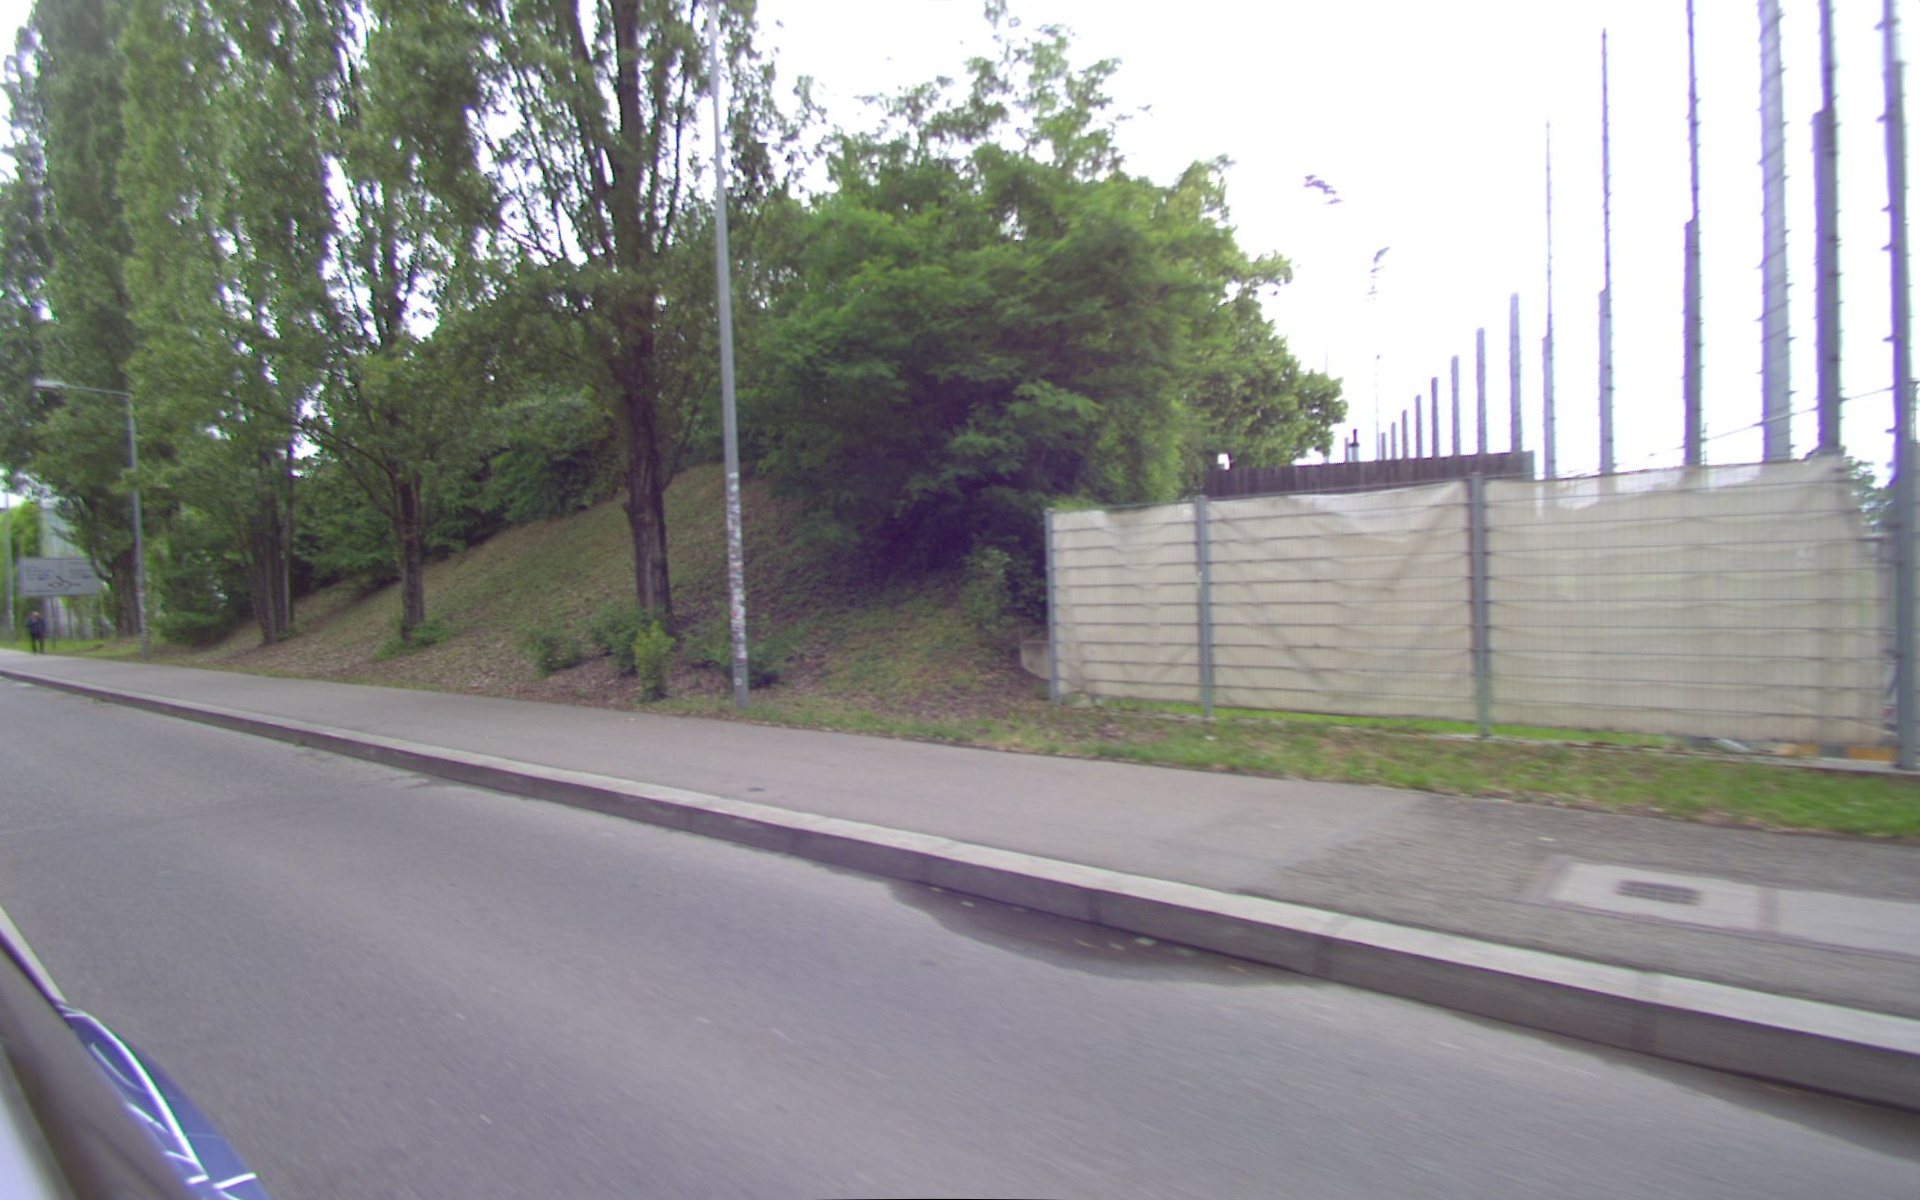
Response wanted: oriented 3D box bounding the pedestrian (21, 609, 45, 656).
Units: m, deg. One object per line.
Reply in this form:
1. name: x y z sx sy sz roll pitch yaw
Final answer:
1. pedestrian: -38.508 1.325 42.036 0.736 1.908 0.654 -1 0 40
